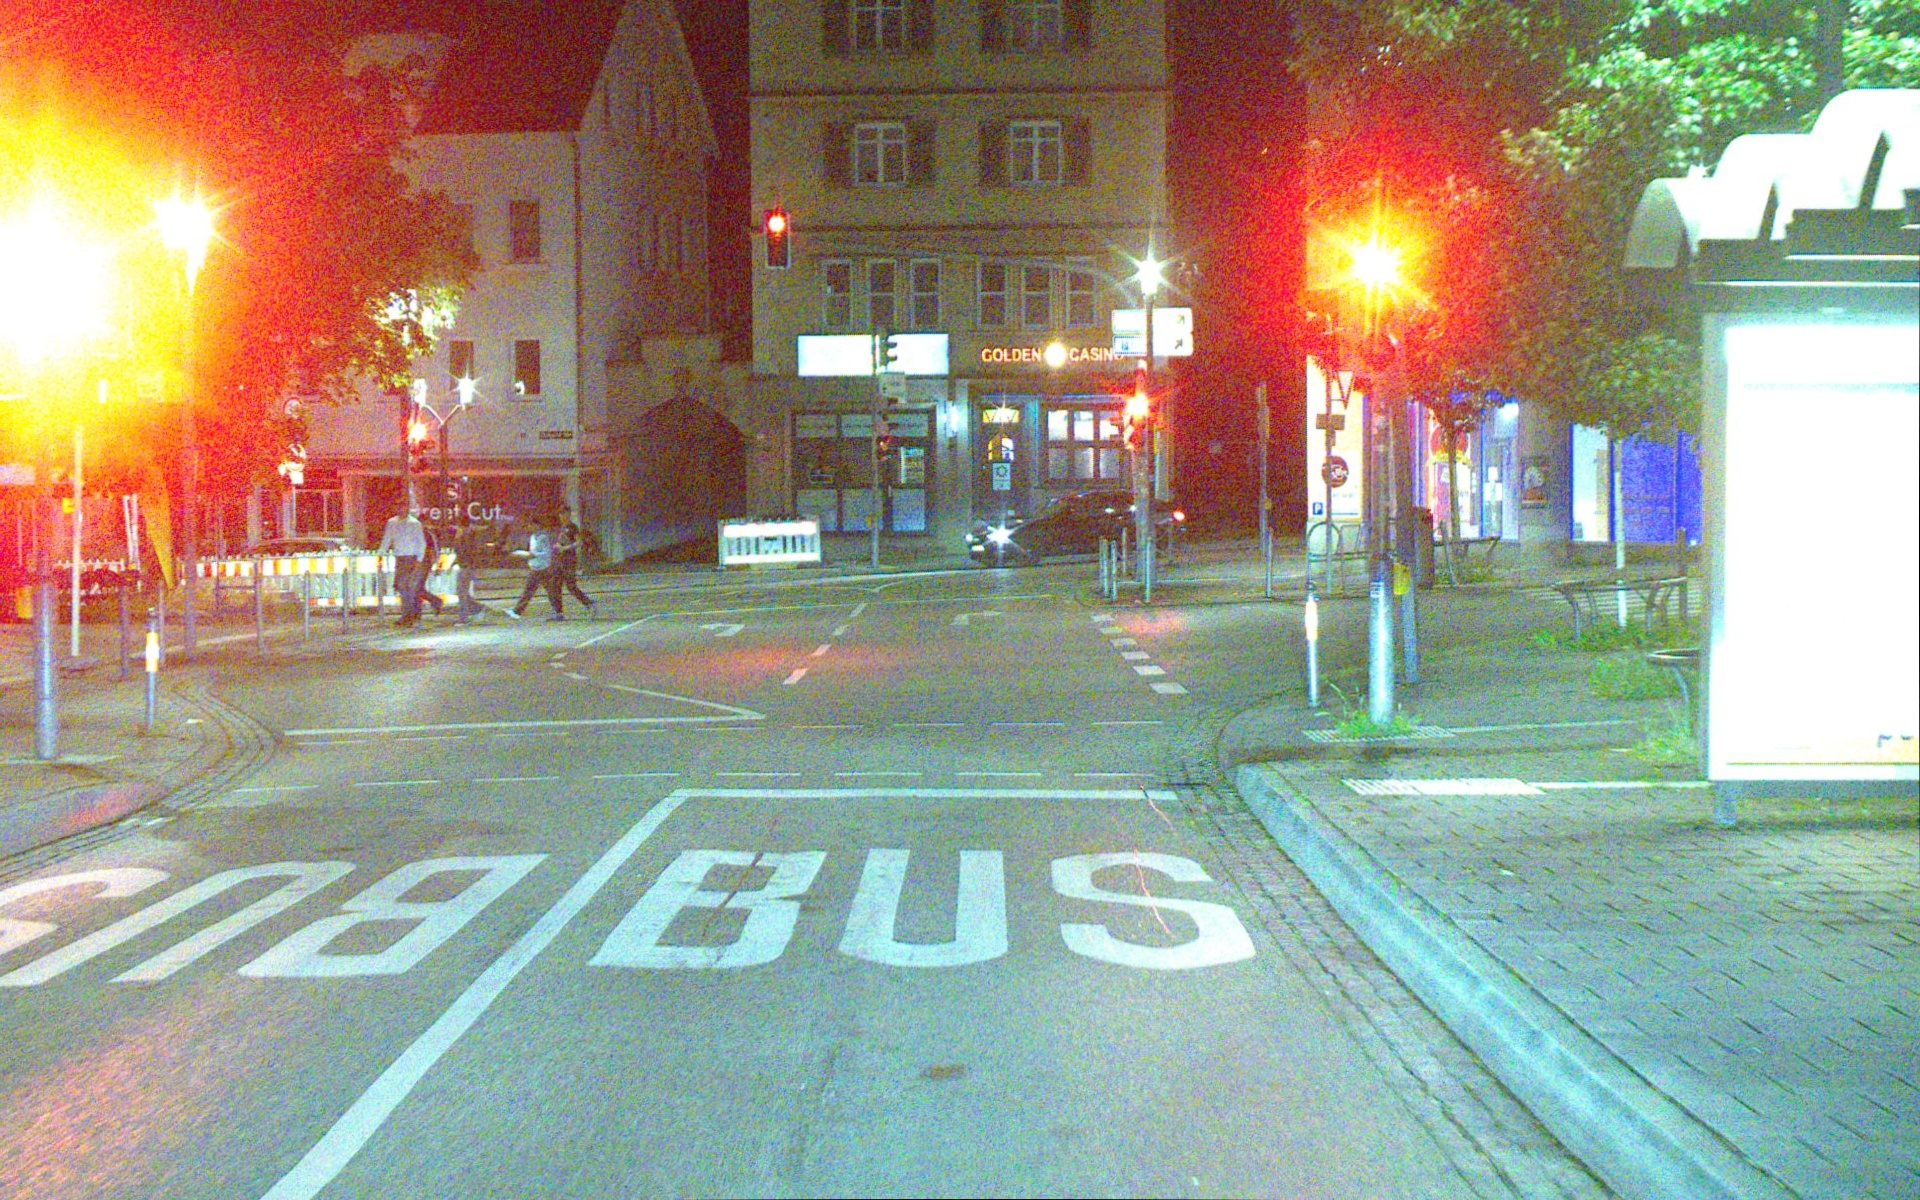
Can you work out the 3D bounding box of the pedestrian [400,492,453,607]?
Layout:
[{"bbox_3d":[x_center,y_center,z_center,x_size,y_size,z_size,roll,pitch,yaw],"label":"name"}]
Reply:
[{"bbox_3d":[-8.457,-0.793,54.455,0.567,1.789,0.718,1,0,-32],"label":"pedestrian"}]

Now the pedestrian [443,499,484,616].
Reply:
[{"bbox_3d":[-7.631,-0.647,52.837,0.567,1.789,0.718,1,0,-6],"label":"pedestrian"}]

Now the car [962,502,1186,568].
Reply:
[{"bbox_3d":[2.406,-1.357,72.487,4.416,1.293,1.642,1,0,-18],"label":"car"}]

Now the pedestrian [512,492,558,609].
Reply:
[{"bbox_3d":[-6.539,-0.756,52.913,0.567,1.789,0.718,1,0,-17],"label":"pedestrian"}]

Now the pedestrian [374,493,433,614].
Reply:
[{"bbox_3d":[-8.283,-0.684,51.153,0.716,1.789,0.569,1,0,7],"label":"pedestrian"}]

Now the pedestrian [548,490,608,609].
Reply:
[{"bbox_3d":[-5.825,-0.770,52.358,0.734,1.789,0.718,1,0,-21],"label":"pedestrian"}]

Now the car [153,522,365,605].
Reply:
[{"bbox_3d":[-14.099,-0.726,69.249,3.753,1.612,1.834,1,0,10],"label":"car"}]
